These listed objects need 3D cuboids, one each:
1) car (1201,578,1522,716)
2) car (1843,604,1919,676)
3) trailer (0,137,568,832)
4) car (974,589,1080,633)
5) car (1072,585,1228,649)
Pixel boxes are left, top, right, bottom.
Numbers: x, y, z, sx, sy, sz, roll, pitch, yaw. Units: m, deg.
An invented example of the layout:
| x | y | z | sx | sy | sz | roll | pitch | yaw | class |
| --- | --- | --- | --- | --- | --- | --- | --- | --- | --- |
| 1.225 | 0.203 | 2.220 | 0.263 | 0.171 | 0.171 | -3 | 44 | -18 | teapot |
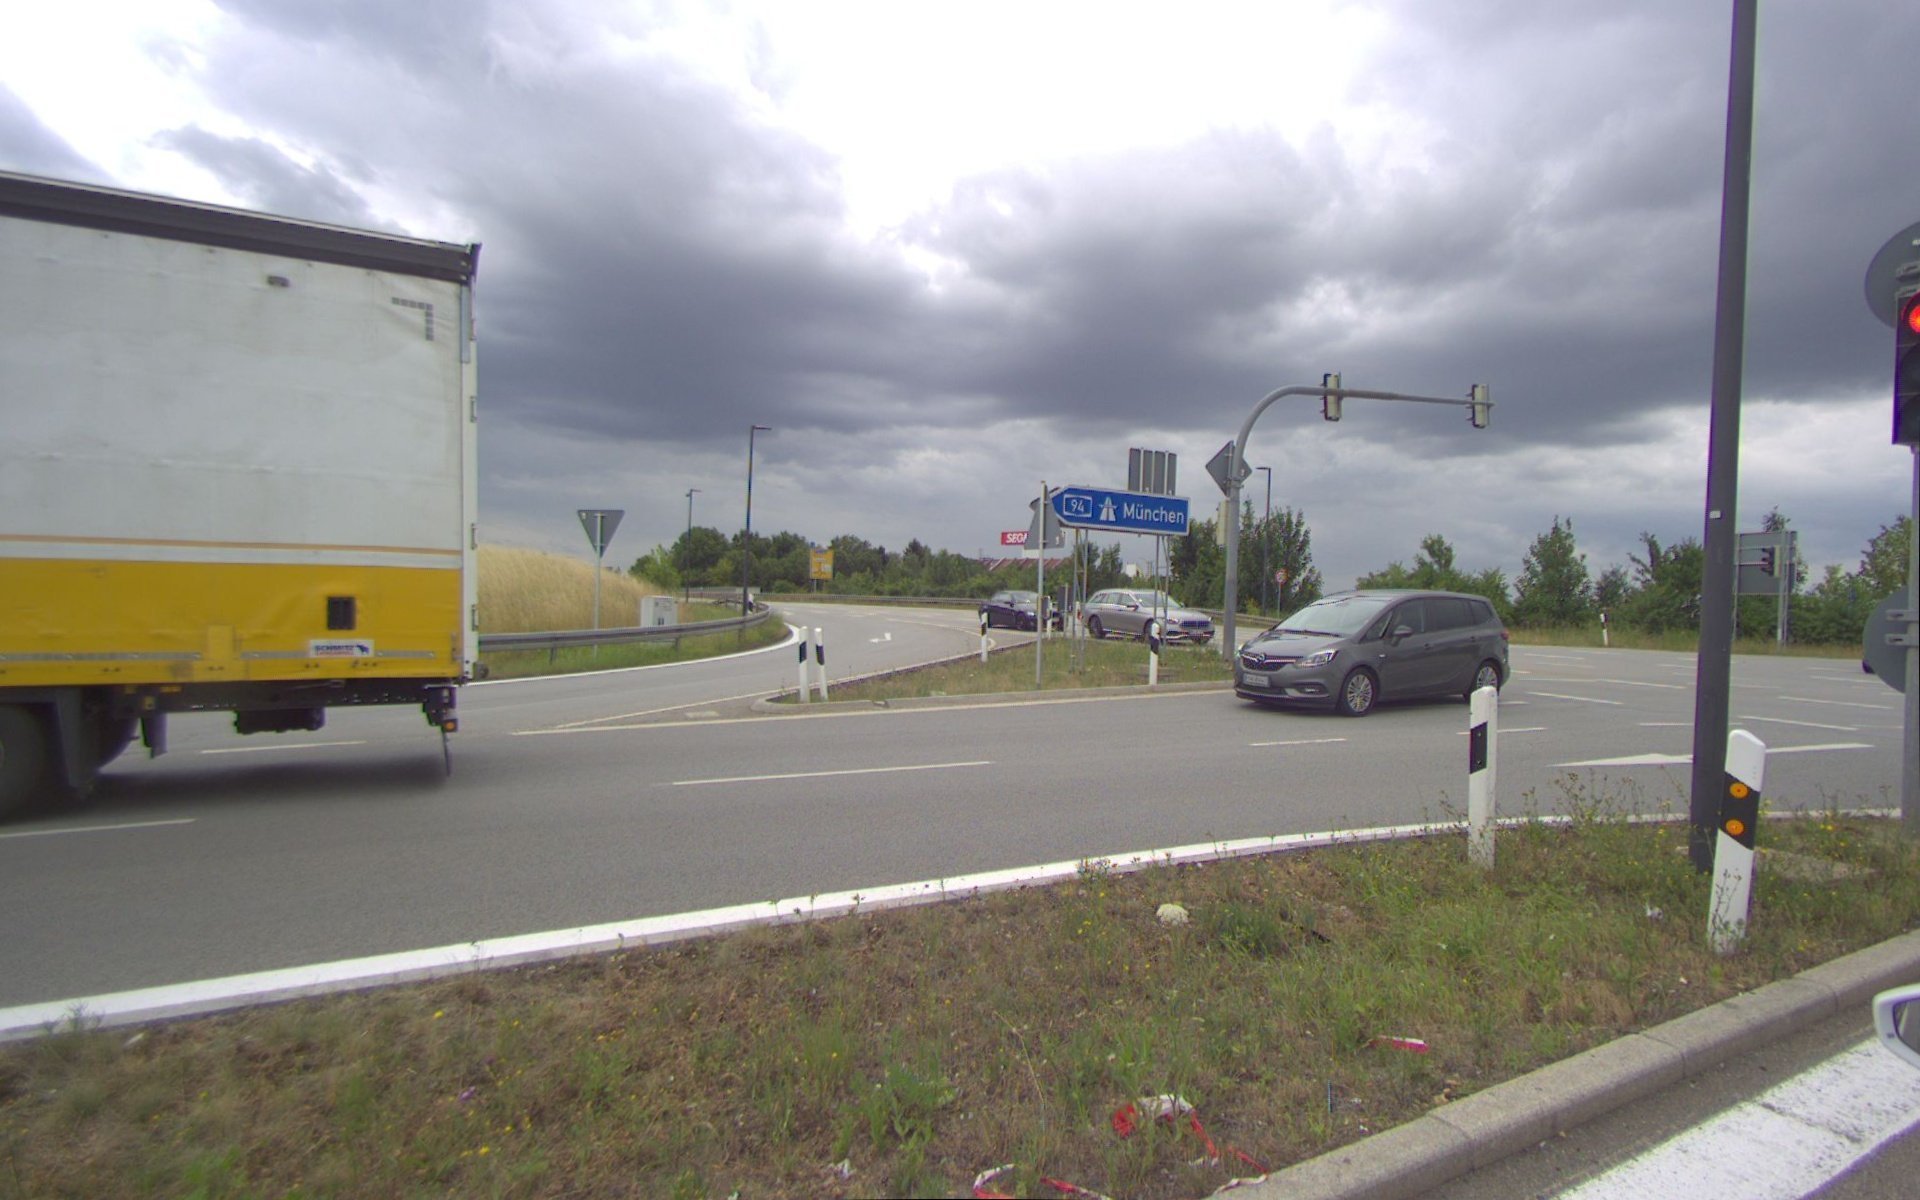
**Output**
| x | y | z | sx | sy | sz | roll | pitch | yaw | class |
| --- | --- | --- | --- | --- | --- | --- | --- | --- | --- |
| 5.812 | 0.637 | 14.429 | 4.403 | 1.716 | 1.984 | 2 | 0 | -30 | car |
| 22.689 | 0.894 | 23.508 | 4.192 | 1.541 | 1.801 | 0 | 1 | -30 | car |
| -9.678 | -0.820 | 5.604 | 13.673 | 4.266 | 2.680 | 2 | 0 | -29 | trailer |
| 2.309 | 0.357 | 36.066 | 1.690 | 1.429 | 4.643 | 2 | 0 | -26 | car |
| 5.382 | 0.421 | 29.162 | 1.895 | 1.632 | 4.916 | 0 | 1 | -26 | car |
